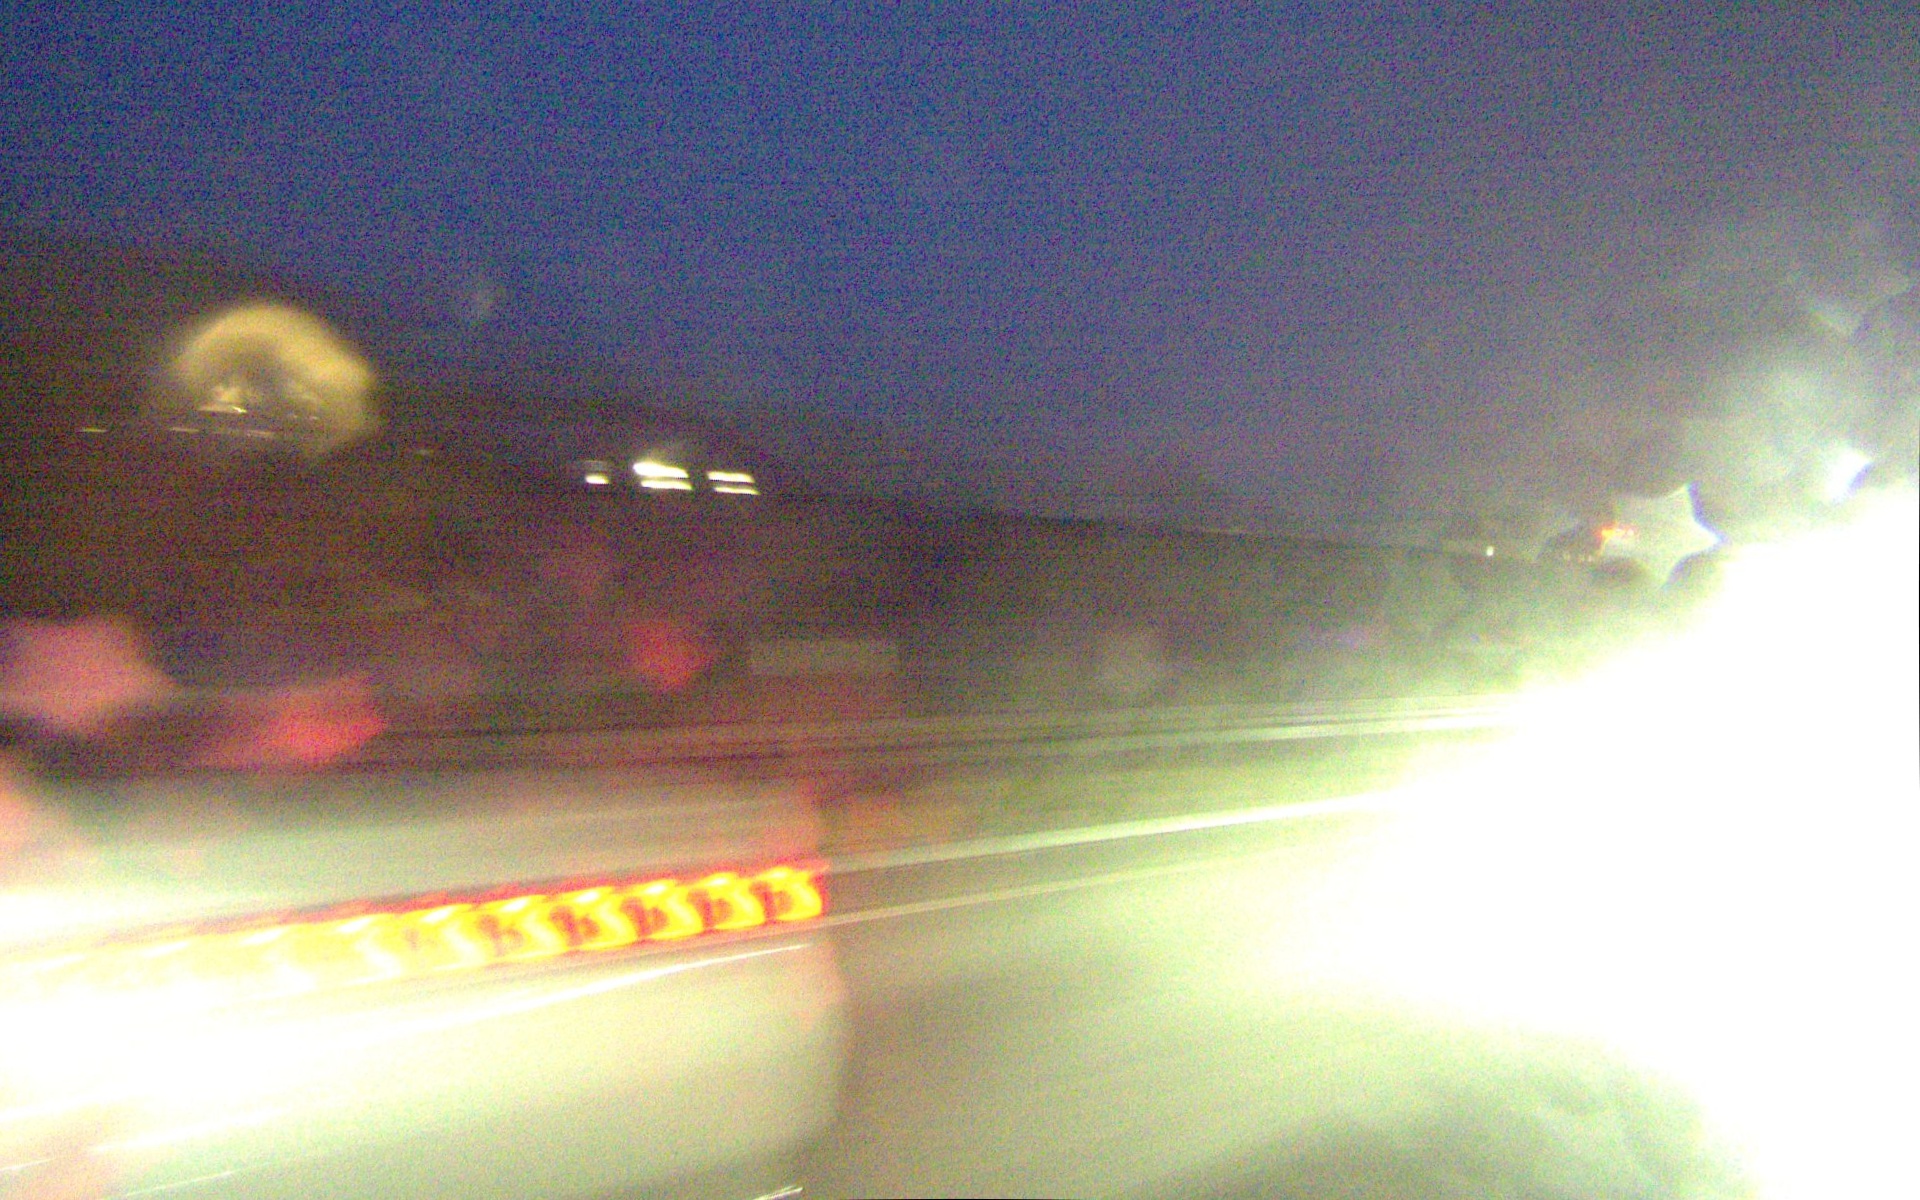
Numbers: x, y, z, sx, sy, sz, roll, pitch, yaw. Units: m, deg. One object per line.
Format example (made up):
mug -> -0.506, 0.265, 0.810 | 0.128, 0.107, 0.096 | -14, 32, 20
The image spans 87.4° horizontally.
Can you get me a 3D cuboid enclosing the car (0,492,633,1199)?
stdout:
car -> -2.741, 0.628, 1.444 | 4.003, 1.597, 1.875 | 1, 0, -31
